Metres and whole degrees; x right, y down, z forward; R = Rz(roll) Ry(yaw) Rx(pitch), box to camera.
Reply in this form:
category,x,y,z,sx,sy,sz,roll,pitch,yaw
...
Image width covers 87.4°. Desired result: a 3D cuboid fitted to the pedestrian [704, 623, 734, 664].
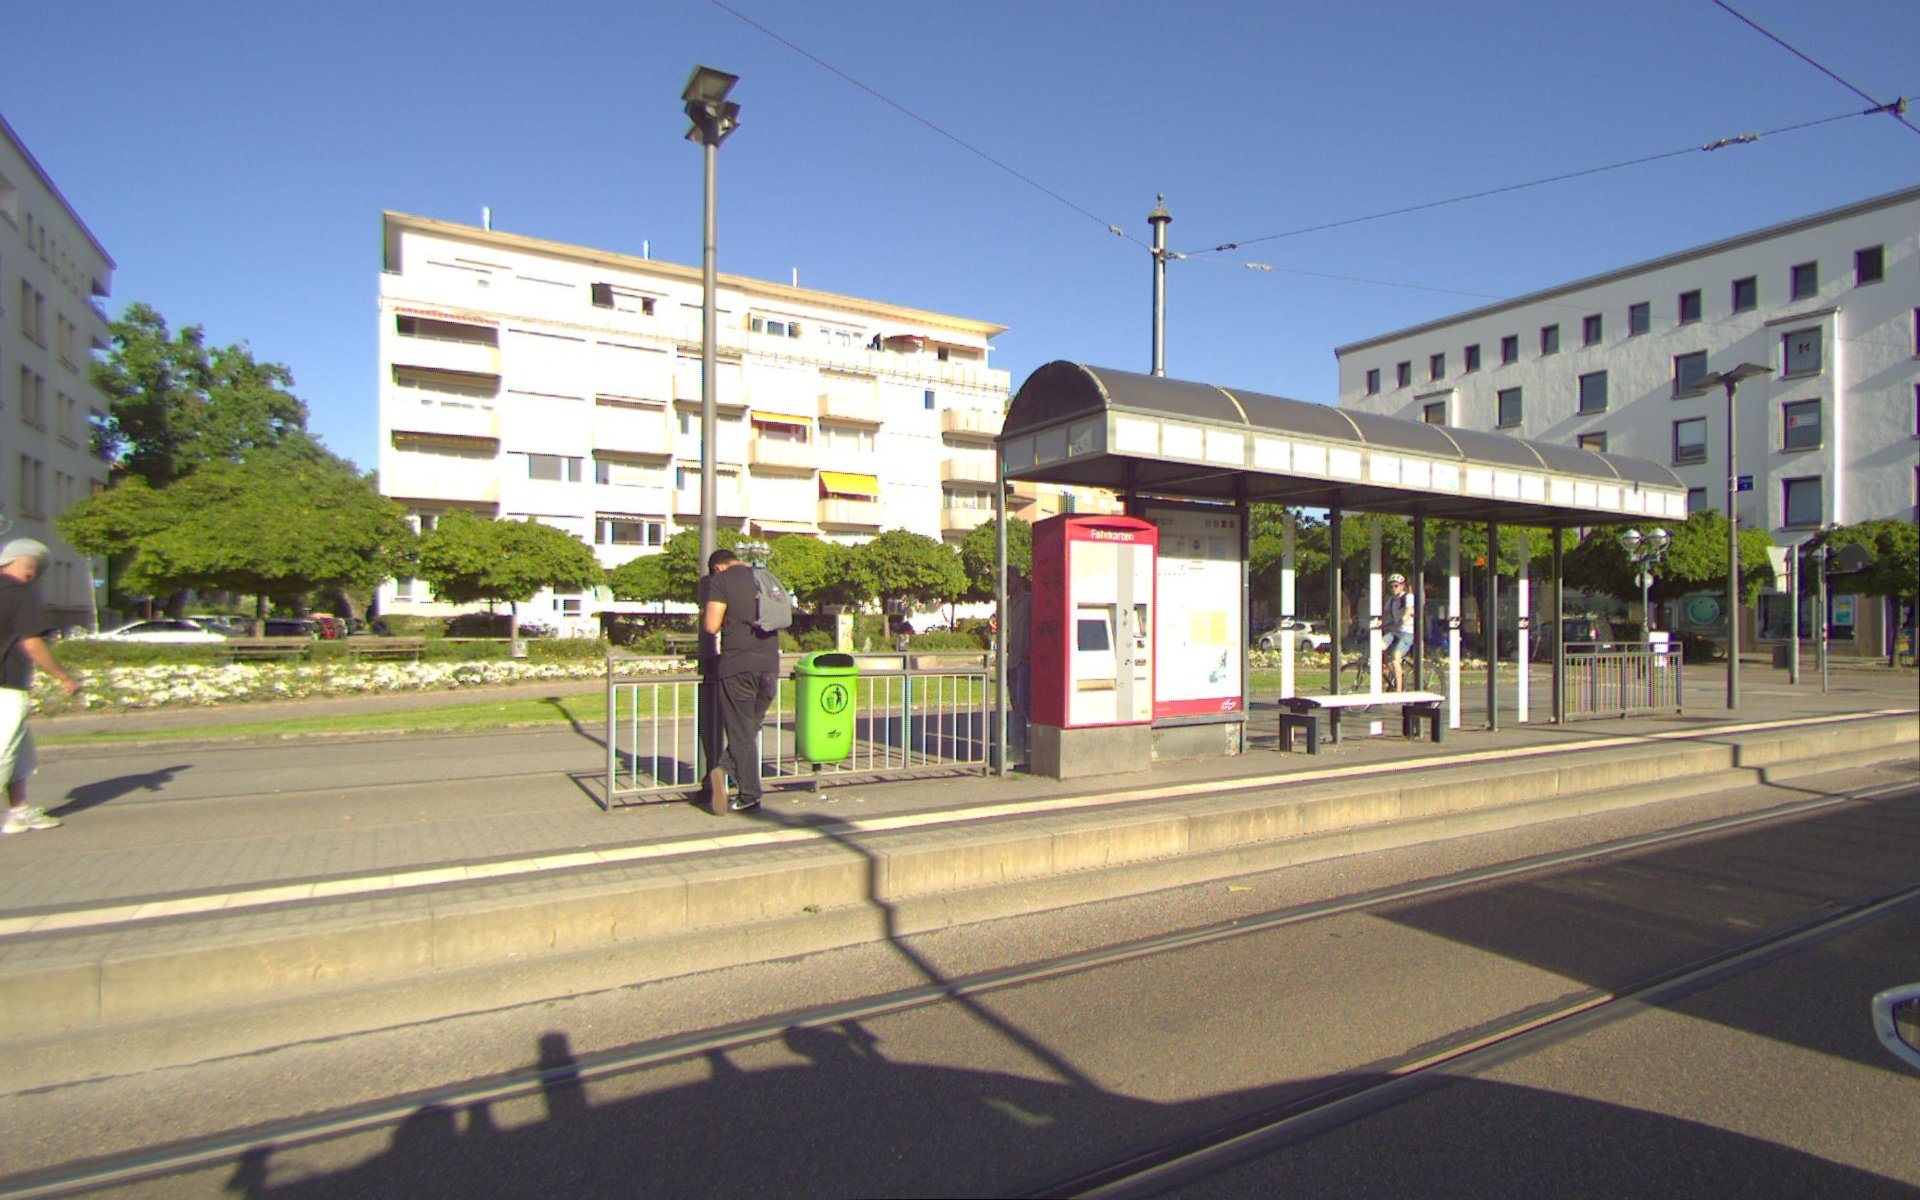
category,x,y,z,sx,sy,sz,roll,pitch,yaw
pedestrian,-8.335,1.497,34.738,0.672,1.378,1.042,1,-1,-34

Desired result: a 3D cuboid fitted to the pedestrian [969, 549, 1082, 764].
category,x,y,z,sx,sy,sz,roll,pitch,yaw
pedestrian,0.569,0.494,8.855,0.760,1.797,0.613,0,-3,-28

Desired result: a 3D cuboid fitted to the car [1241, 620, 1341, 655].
category,x,y,z,sx,sy,sz,roll,pitch,yaw
car,16.092,1.772,49.059,1.834,1.628,4.581,1,-1,-31

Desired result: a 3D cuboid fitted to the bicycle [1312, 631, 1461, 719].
category,x,y,z,sx,sy,sz,roll,pitch,yaw
bicycle,5.901,1.000,13.884,2.007,1.141,0.710,0,-1,-23

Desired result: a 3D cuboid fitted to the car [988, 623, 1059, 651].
category,x,y,z,sx,sy,sz,roll,pitch,yaw
car,3.231,1.837,50.999,3.271,1.372,1.638,1,-1,-29

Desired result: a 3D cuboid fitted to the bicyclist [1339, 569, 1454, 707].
category,x,y,z,sx,sy,sz,roll,pitch,yaw
bicyclist,6.028,0.511,13.916,1.080,1.817,1.001,0,-1,-23

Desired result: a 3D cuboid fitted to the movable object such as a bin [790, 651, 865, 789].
category,x,y,z,sx,sy,sz,roll,pitch,yaw
movable object such as a bin,-0.883,0.781,6.694,0.411,0.871,0.335,0,-1,-27

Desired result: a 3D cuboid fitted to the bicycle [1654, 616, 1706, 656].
category,x,y,z,sx,sy,sz,roll,pitch,yaw
bicycle,29.819,1.488,41.598,2.585,1.628,0.616,1,-1,-26

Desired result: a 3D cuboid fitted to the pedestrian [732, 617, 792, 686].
category,x,y,z,sx,sy,sz,roll,pitch,yaw
pedestrian,-5.339,1.359,27.133,1.155,1.811,1.080,0,-1,28

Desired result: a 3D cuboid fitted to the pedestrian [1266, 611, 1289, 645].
category,x,y,z,sx,sy,sz,roll,pitch,yaw
pedestrian,17.699,1.559,55.968,0.856,1.841,0.944,0,-1,-18

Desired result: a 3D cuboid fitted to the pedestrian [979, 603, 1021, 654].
category,x,y,z,sx,sy,sz,roll,pitch,yaw
pedestrian,1.605,1.144,40.516,1.219,2.040,1.214,1,-1,-30

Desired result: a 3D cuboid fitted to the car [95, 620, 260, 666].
category,x,y,z,sx,sy,sz,roll,pitch,yaw
car,-23.504,1.265,30.356,3.671,1.318,1.984,1,-1,-30

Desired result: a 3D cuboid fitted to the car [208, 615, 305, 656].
category,x,y,z,sx,sy,sz,roll,pitch,yaw
car,-26.749,1.318,38.269,2.899,1.506,1.407,1,-1,-30

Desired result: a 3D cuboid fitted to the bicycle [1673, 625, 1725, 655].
category,x,y,z,sx,sy,sz,roll,pitch,yaw
bicycle,30.146,1.631,40.953,2.586,1.206,0.615,1,-1,-27

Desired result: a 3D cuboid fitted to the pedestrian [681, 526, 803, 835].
category,x,y,z,sx,sy,sz,roll,pitch,yaw
pedestrian,-1.326,0.469,6.063,0.599,1.740,0.546,1,-3,-28

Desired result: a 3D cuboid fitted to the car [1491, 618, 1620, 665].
category,x,y,z,sx,sy,sz,roll,pitch,yaw
car,22.999,1.573,38.942,1.804,1.728,3.969,1,-1,-30

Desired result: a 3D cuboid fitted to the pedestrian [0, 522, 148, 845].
category,x,y,z,sx,sy,sz,roll,pitch,yaw
pedestrian,-5.512,0.463,5.707,0.976,1.702,0.975,-1,-2,7

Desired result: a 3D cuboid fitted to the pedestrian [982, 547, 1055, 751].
category,x,y,z,sx,sy,sz,roll,pitch,yaw
pedestrian,0.557,0.465,9.575,0.519,1.883,0.427,0,-3,-27

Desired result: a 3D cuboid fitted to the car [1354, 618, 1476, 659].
category,x,y,z,sx,sy,sz,roll,pitch,yaw
car,19.819,1.642,43.945,1.978,1.684,4.581,1,-1,-31
